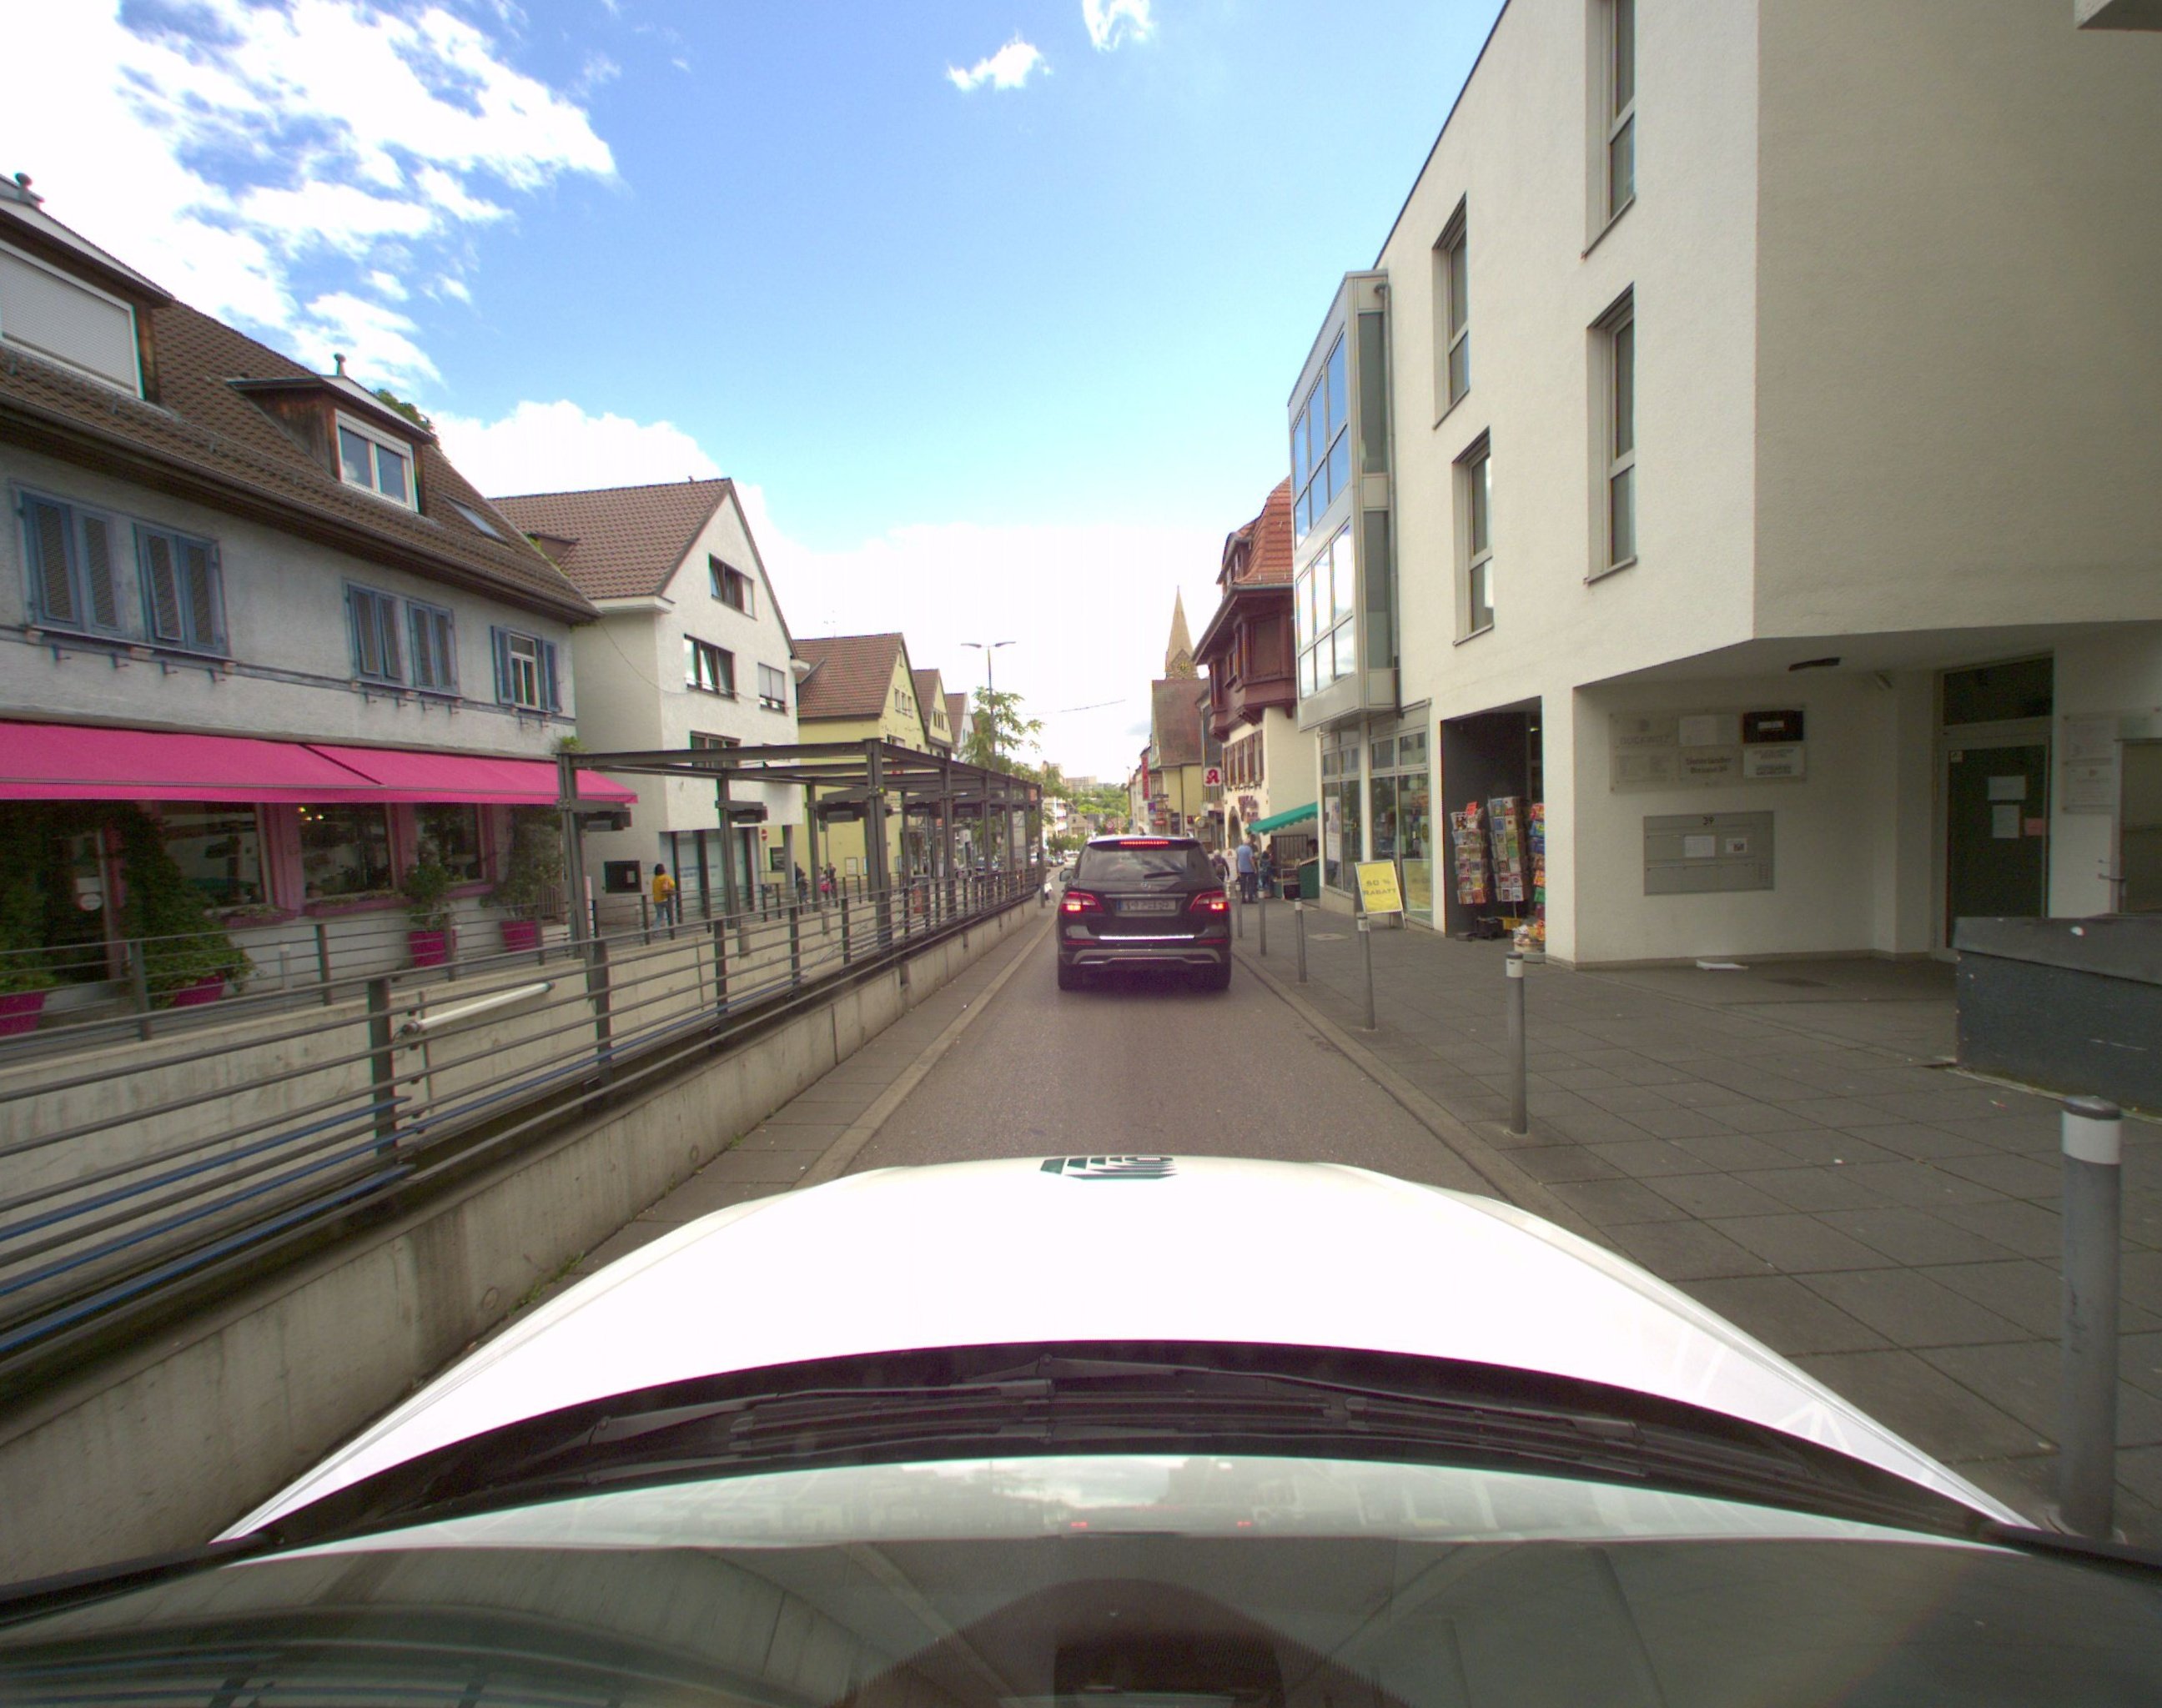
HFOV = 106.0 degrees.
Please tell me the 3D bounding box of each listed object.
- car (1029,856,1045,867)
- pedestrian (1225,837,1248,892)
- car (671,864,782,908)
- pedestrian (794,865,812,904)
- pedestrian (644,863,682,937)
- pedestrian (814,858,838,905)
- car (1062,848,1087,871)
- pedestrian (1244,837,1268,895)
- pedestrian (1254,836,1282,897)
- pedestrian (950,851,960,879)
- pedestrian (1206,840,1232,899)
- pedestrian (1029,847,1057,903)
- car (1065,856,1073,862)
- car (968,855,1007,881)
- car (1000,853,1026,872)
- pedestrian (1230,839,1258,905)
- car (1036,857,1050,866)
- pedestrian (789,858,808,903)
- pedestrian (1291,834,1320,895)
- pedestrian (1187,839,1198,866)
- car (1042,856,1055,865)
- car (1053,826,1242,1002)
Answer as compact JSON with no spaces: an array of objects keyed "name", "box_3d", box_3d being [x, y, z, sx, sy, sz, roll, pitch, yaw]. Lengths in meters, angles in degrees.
[{"name":"car","box_3d":[-4.742,0.846,88.600,1.383,1.070,3.115,-3,0,2]},{"name":"pedestrian","box_3d":[5.129,0.340,26.827,0.637,1.809,0.685,0,0,1]},{"name":"car","box_3d":[-15.419,1.358,35.495,4.149,1.731,1.842,1,0,15]},{"name":"pedestrian","box_3d":[-10.275,1.124,30.118,0.454,1.421,0.534,0,0,4]},{"name":"pedestrian","box_3d":[-9.778,1.065,19.081,0.576,1.689,0.577,0,0,1]},{"name":"pedestrian","box_3d":[-9.400,1.011,30.026,0.623,1.689,0.679,0,0,1]},{"name":"car","box_3d":[-0.499,0.380,62.612,1.764,1.713,4.002,0,0,2]},{"name":"pedestrian","box_3d":[5.175,0.357,24.109,0.572,1.689,0.565,0,0,-4]},{"name":"pedestrian","box_3d":[5.290,0.348,23.090,0.572,1.689,0.565,-3,0,-4]},{"name":"pedestrian","box_3d":[-7.662,0.662,49.443,0.511,1.689,0.542,0,0,1]},{"name":"pedestrian","box_3d":[3.980,0.448,23.508,0.620,1.689,0.565,0,0,-4]},{"name":"pedestrian","box_3d":[-1.159,0.627,24.771,0.762,1.689,0.728,0,0,3]},{"name":"car","box_3d":[-2.447,1.013,162.297,1.383,1.070,3.115,-3,0,2]},{"name":"car","box_3d":[-5.539,0.791,48.630,1.683,1.490,3.981,0,0,2]},{"name":"car","box_3d":[-5.450,0.667,65.950,1.654,1.490,3.750,0,0,2]},{"name":"pedestrian","box_3d":[4.379,0.476,21.860,0.541,1.726,0.527,-3,0,-4]},{"name":"car","box_3d":[-4.651,0.925,100.208,1.383,1.070,3.115,-3,0,2]},{"name":"pedestrian","box_3d":[-10.712,0.996,30.907,0.612,1.689,0.561,0,0,-13]},{"name":"pedestrian","box_3d":[6.388,0.301,23.202,0.572,1.689,0.565,-3,0,-4]},{"name":"pedestrian","box_3d":[7.035,-0.088,51.407,0.604,1.688,0.725,-3,0,1]},{"name":"car","box_3d":[-4.217,0.807,105.797,1.383,1.070,3.115,-3,0,2]},{"name":"car","box_3d":[0.685,0.590,10.163,1.894,1.747,4.000,0,0,0]}]
